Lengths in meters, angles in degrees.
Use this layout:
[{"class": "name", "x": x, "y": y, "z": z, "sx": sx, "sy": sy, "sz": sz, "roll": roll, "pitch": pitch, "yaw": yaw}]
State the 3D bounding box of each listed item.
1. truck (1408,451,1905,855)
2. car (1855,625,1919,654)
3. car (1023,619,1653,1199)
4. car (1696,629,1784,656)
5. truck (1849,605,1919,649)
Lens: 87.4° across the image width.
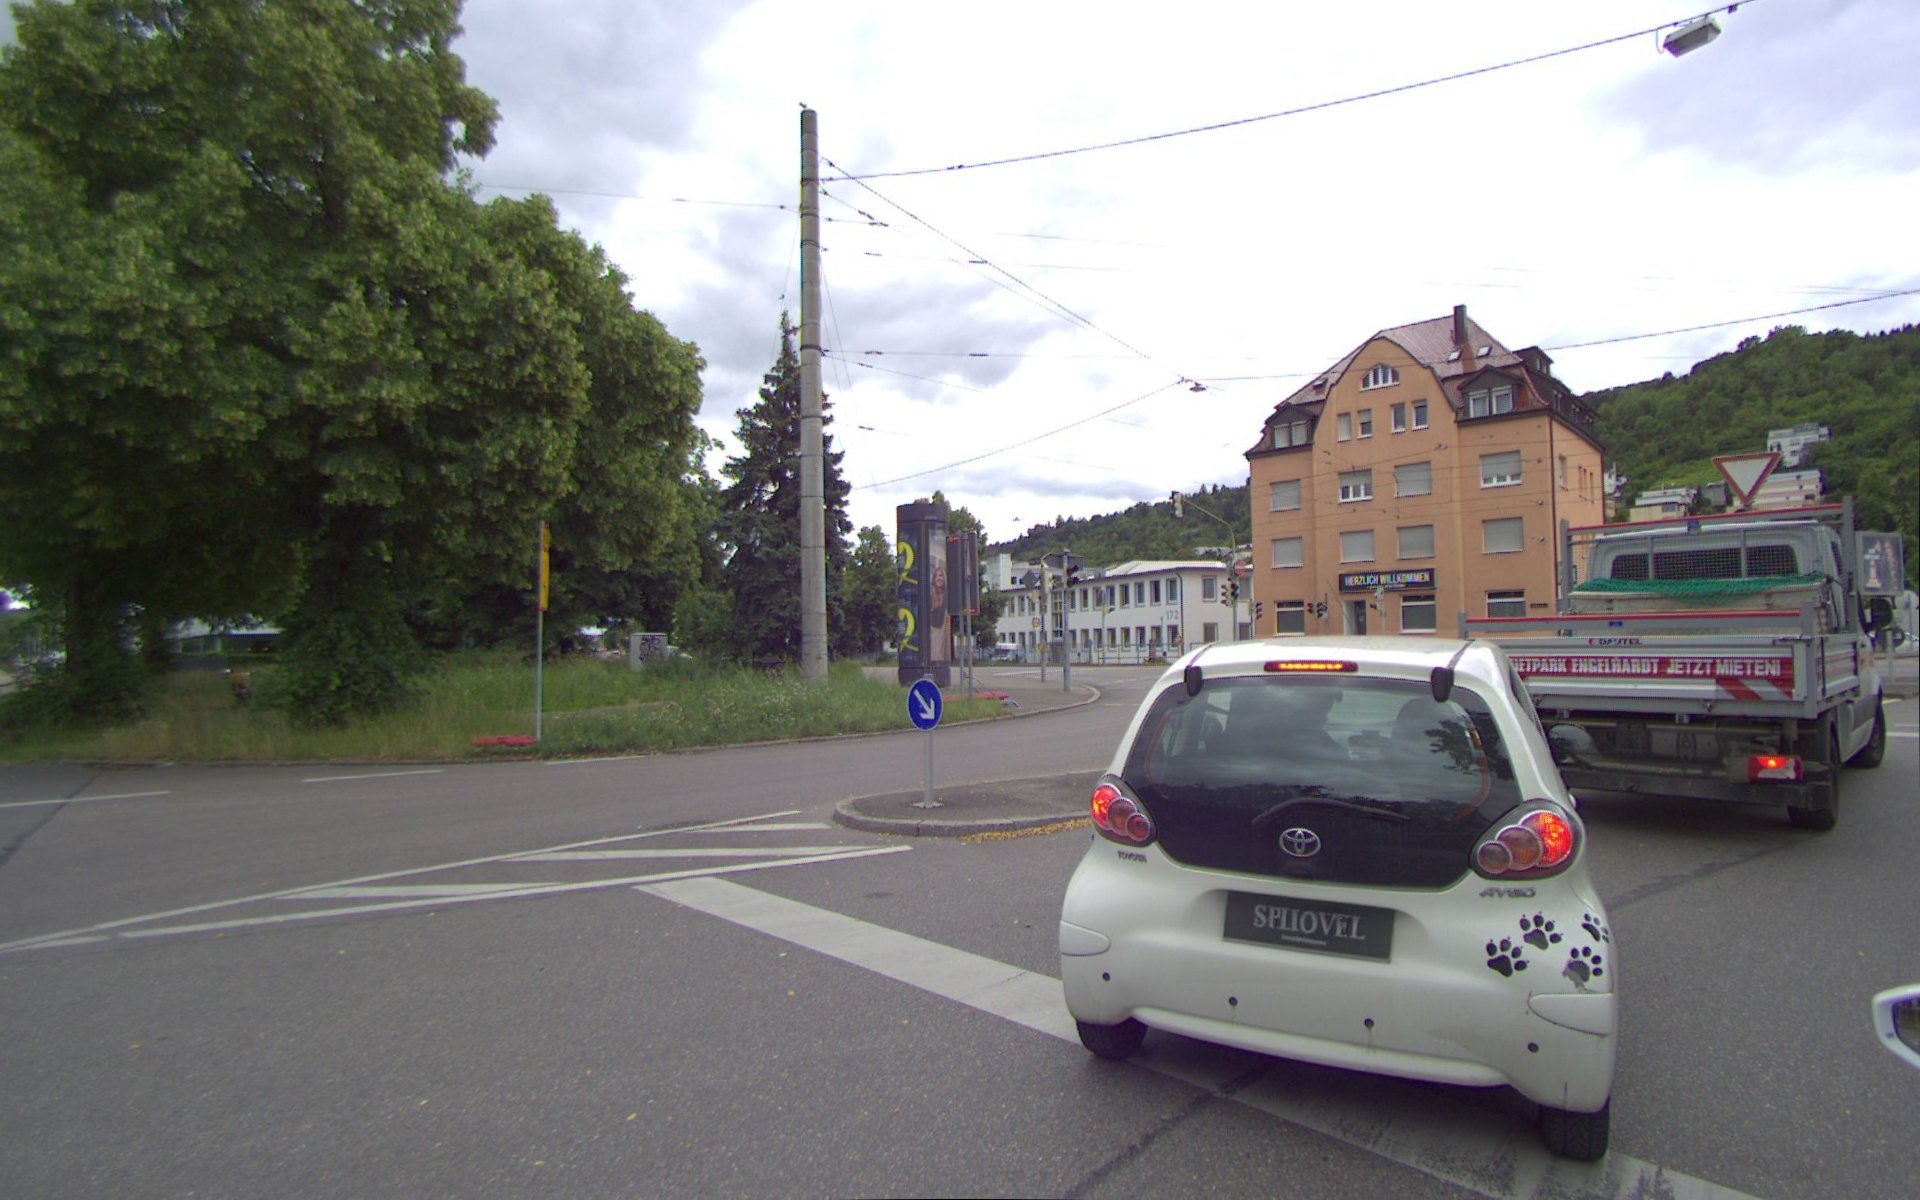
[{"class": "truck", "x": 6.520, "y": 0.412, "z": 8.996, "sx": 5.986, "sy": 2.429, "sz": 2.399, "roll": 1, "pitch": -4, "yaw": -43}, {"class": "car", "x": 52.929, "y": 2.213, "z": 56.154, "sx": 1.764, "sy": 1.553, "sz": 4.162, "roll": 1, "pitch": -3, "yaw": -44}, {"class": "car", "x": 1.743, "y": 0.861, "z": 4.313, "sx": 1.615, "sy": 1.451, "sz": 3.426, "roll": -3, "pitch": -3, "yaw": 28}, {"class": "car", "x": 47.538, "y": 2.592, "z": 61.287, "sx": 4.153, "sy": 1.553, "sz": 1.768, "roll": -3, "pitch": -3, "yaw": 39}, {"class": "truck", "x": 55.279, "y": 1.544, "z": 58.314, "sx": 5.112, "sy": 2.424, "sz": 1.995, "roll": -3, "pitch": -3, "yaw": 33}]
